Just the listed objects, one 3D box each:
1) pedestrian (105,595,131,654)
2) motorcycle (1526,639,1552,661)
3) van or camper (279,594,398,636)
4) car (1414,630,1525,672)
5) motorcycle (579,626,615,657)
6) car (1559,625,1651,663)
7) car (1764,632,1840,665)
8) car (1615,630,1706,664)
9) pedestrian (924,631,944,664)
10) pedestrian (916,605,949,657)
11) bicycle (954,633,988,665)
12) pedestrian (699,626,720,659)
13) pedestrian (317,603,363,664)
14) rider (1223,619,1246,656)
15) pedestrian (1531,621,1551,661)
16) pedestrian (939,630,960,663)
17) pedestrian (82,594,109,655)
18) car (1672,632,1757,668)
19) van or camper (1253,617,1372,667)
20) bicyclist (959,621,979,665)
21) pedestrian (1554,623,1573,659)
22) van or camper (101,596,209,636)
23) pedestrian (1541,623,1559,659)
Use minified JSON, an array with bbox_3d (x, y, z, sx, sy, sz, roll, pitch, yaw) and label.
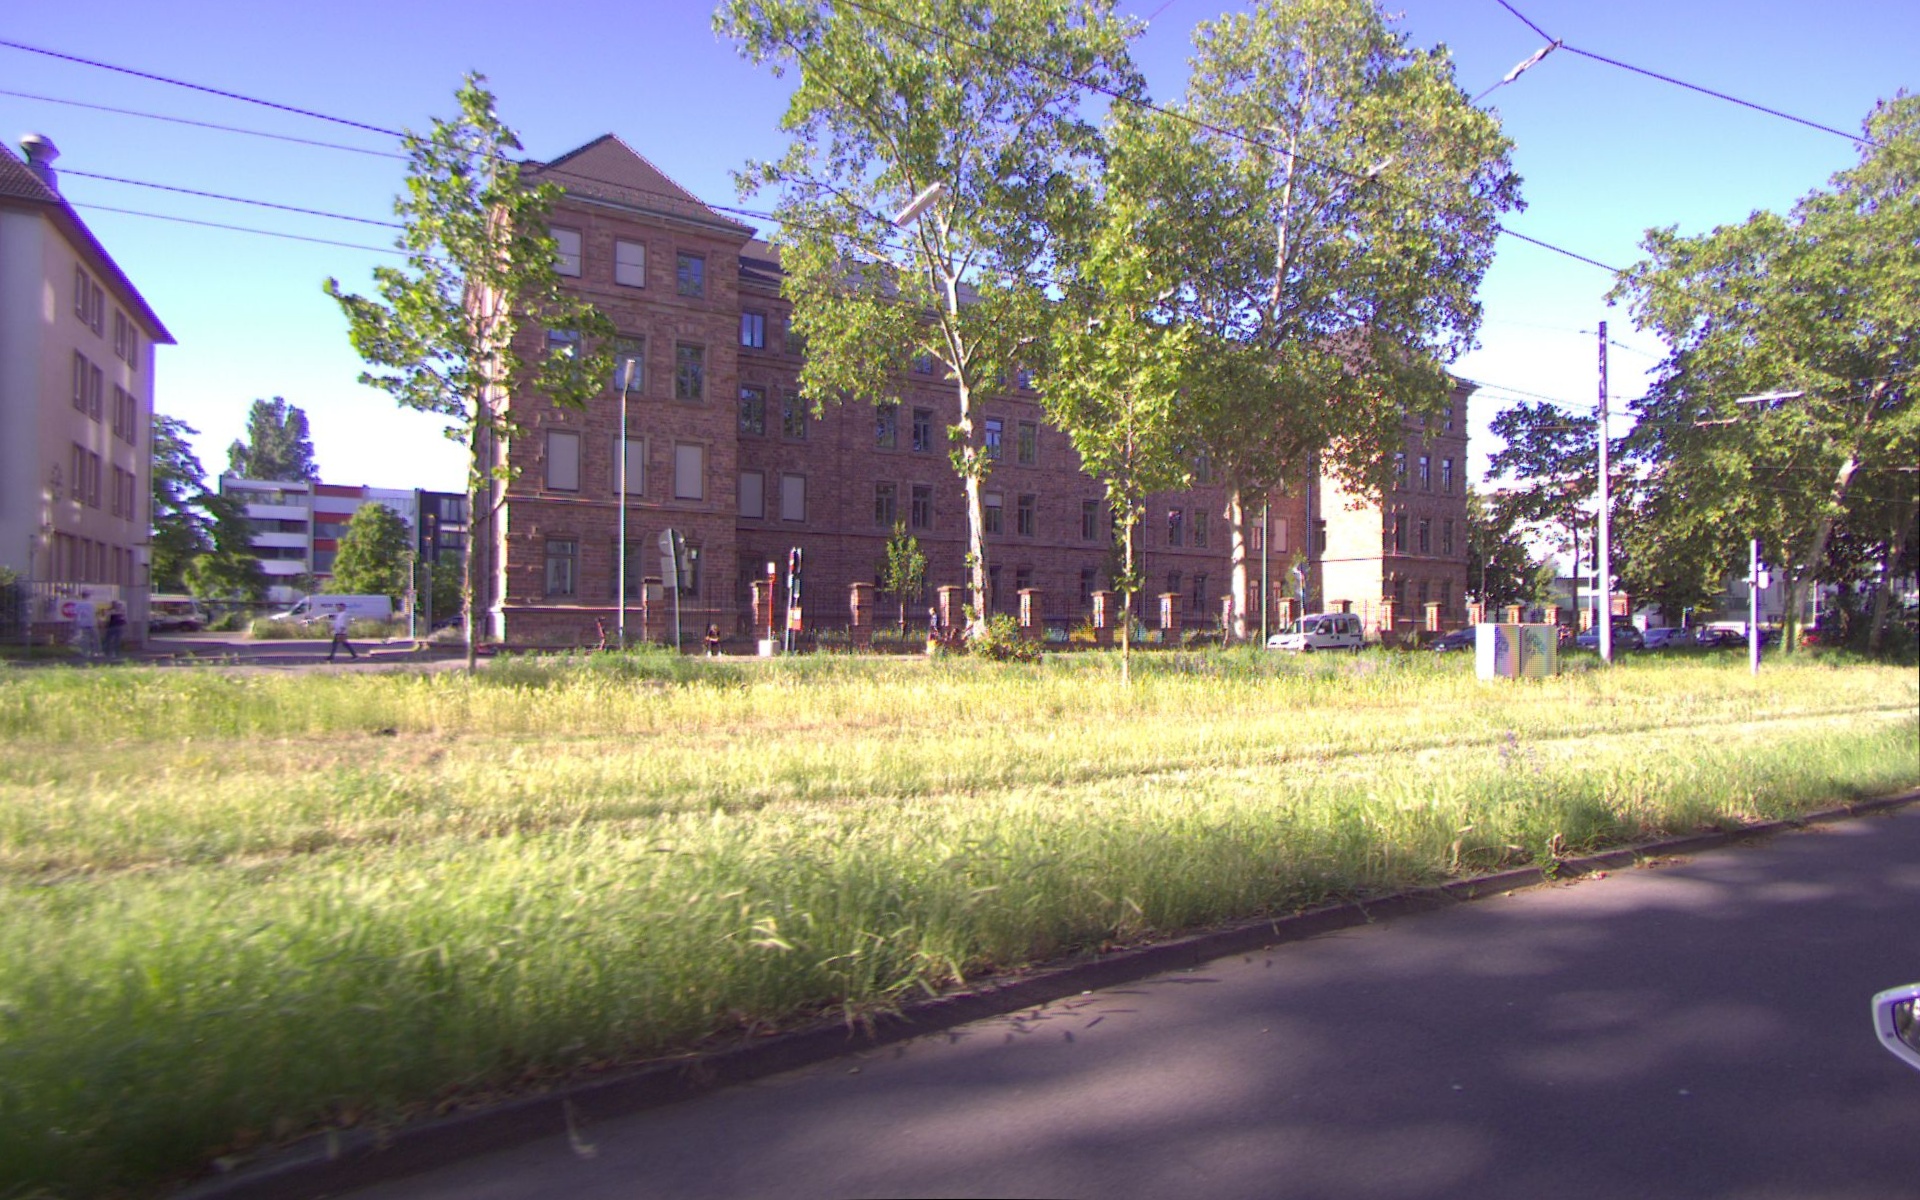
[{"bbox_3d":[-24.592,0.708,29.342,0.443,1.718,0.374,1,-1,-23],"label":"pedestrian"},{"bbox_3d":[30.102,2.602,52.213,1.278,1.066,0.581,3,-2,-30],"label":"motorcycle"},{"bbox_3d":[-41.391,1.033,67.086,6.591,2.677,1.983,2,-1,-31],"label":"van or camper"},{"bbox_3d":[21.919,2.157,43.152,4.769,1.671,1.984,1,-1,-30],"label":"car"},{"bbox_3d":[-11.546,1.319,31.965,1.034,0.959,0.332,2,-1,-34],"label":"motorcycle"},{"bbox_3d":[31.069,2.088,48.367,4.362,1.742,1.762,1,-1,-26],"label":"car"},{"bbox_3d":[49.988,2.849,59.624,4.685,1.833,2.098,1,-1,-32],"label":"car"},{"bbox_3d":[35.705,2.398,51.187,4.362,1.636,1.987,1,-1,-26],"label":"car"},{"bbox_3d":[-0.885,1.615,34.075,0.473,1.114,0.583,1,-1,-31],"label":"pedestrian"},{"bbox_3d":[-1.040,1.152,37.496,0.930,1.924,0.897,1,-1,-29],"label":"pedestrian"},{"bbox_3d":[0.384,1.690,34.862,1.166,1.082,0.457,2,-1,-40],"label":"bicycle"},{"bbox_3d":[-8.438,1.423,33.821,0.582,1.114,0.441,1,-1,-34],"label":"pedestrian"},{"bbox_3d":[-17.921,0.960,29.040,0.670,1.718,0.882,0,-1,32],"label":"pedestrian"},{"bbox_3d":[12.362,1.681,45.265,0.678,1.666,0.725,1,-1,-29],"label":"rider"},{"bbox_3d":[30.177,2.137,52.171,0.702,2.040,0.582,2,-1,-31],"label":"pedestrian"},{"bbox_3d":[-0.357,1.591,34.300,0.582,1.114,0.441,1,-1,-35],"label":"pedestrian"},{"bbox_3d":[-24.625,0.689,28.612,0.443,1.718,0.374,1,-1,-24],"label":"pedestrian"},{"bbox_3d":[40.493,2.652,53.904,4.684,1.833,2.098,1,-1,-31],"label":"car"},{"bbox_3d":[13.310,1.587,37.840,4.384,1.811,1.983,2,-2,-32],"label":"van or camper"},{"bbox_3d":[0.310,1.478,34.804,0.498,1.518,0.450,1,-1,-39],"label":"bicyclist"},{"bbox_3d":[34.026,2.310,56.670,0.618,2.040,0.711,1,-1,-29],"label":"pedestrian"},{"bbox_3d":[-55.896,1.136,69.922,5.566,2.677,1.984,2,-1,-30],"label":"van or camper"},{"bbox_3d":[33.706,2.317,57.373,0.618,2.040,0.711,1,-1,-29],"label":"pedestrian"}]
